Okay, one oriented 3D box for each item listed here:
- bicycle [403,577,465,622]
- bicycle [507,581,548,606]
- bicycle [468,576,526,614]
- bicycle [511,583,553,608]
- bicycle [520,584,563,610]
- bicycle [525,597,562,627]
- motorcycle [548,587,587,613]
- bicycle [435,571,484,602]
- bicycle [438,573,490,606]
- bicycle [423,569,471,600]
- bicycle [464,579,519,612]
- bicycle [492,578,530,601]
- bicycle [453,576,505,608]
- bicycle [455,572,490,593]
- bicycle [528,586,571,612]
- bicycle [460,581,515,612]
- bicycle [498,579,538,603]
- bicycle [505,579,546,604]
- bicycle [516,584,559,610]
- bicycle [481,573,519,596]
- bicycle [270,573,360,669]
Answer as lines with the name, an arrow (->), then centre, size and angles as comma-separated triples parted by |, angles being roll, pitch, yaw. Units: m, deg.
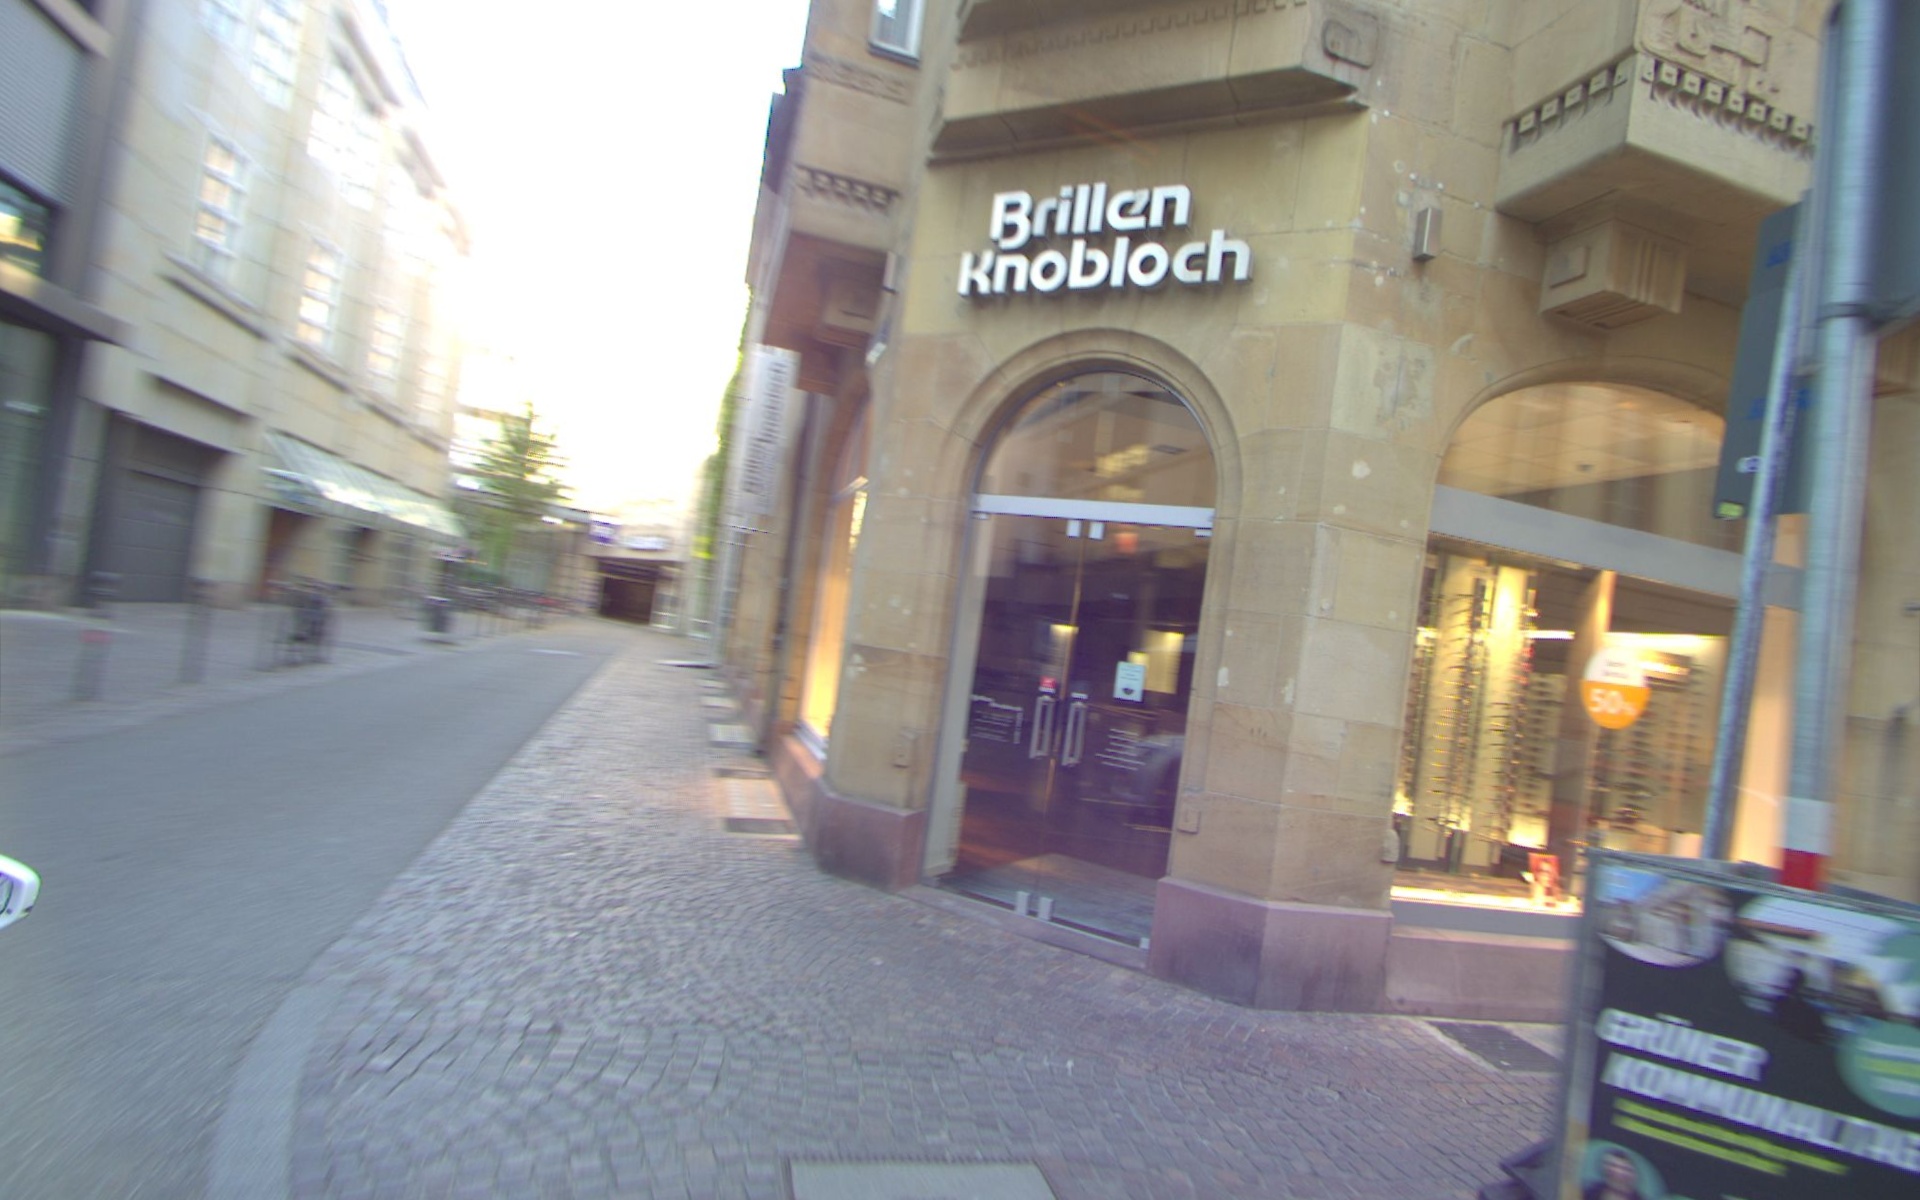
bicycle -> -14.916, 0.006, 28.585 | 0.683, 1.124, 1.778 | 8, -2, 0
bicycle -> -25.039, -0.376, 58.271 | 1.982, 1.196, 0.795 | 7, -1, -35
bicycle -> -18.903, -0.199, 41.103 | 1.903, 1.275, 0.801 | 9, -2, -36
bicycle -> -24.249, -0.259, 56.991 | 1.982, 1.196, 0.795 | 7, -1, -35
bicycle -> -22.970, -0.162, 55.268 | 1.982, 1.196, 0.689 | 7, -1, -35
bicycle -> -14.796, 0.445, 35.801 | 0.497, 0.977, 1.696 | 7, -2, 0
motorcycle -> -20.794, 0.003, 53.258 | 1.734, 1.169, 0.589 | 7, -1, -33
bicycle -> -23.923, -0.656, 48.122 | 1.901, 1.196, 0.690 | 9, -2, -33
bicycle -> -22.076, -0.468, 44.822 | 1.901, 1.196, 0.690 | 9, -2, -33
bicycle -> -24.788, -0.763, 48.639 | 1.901, 1.196, 0.690 | 9, -2, -33
bicycle -> -20.121, -0.189, 43.222 | 1.903, 1.114, 0.689 | 10, -2, -36
bicycle -> -27.600, -0.647, 61.870 | 1.982, 1.196, 0.687 | 7, -1, -35
bicycle -> -21.118, -0.342, 44.165 | 1.901, 1.114, 0.690 | 9, -2, -33
bicycle -> -33.206, -1.173, 68.580 | 1.982, 1.196, 0.687 | 7, -1, -35
bicycle -> -22.227, -0.059, 54.512 | 1.982, 1.196, 0.689 | 7, -1, -35
bicycle -> -19.887, -0.133, 42.337 | 1.903, 1.005, 0.689 | 10, -2, -36
bicycle -> -26.276, -0.542, 59.809 | 1.982, 1.196, 0.687 | 7, -1, -35
bicycle -> -25.537, -0.479, 59.150 | 1.982, 1.196, 0.687 | 7, -1, -35
bicycle -> -23.524, -0.191, 56.024 | 1.982, 1.196, 0.795 | 7, -1, -35
bicycle -> -29.198, -0.964, 63.852 | 1.982, 1.196, 0.687 | 7, -1, -35
bicycle -> -8.557, 0.256, 13.413 | 0.406, 1.145, 1.924 | 8, -2, -18
